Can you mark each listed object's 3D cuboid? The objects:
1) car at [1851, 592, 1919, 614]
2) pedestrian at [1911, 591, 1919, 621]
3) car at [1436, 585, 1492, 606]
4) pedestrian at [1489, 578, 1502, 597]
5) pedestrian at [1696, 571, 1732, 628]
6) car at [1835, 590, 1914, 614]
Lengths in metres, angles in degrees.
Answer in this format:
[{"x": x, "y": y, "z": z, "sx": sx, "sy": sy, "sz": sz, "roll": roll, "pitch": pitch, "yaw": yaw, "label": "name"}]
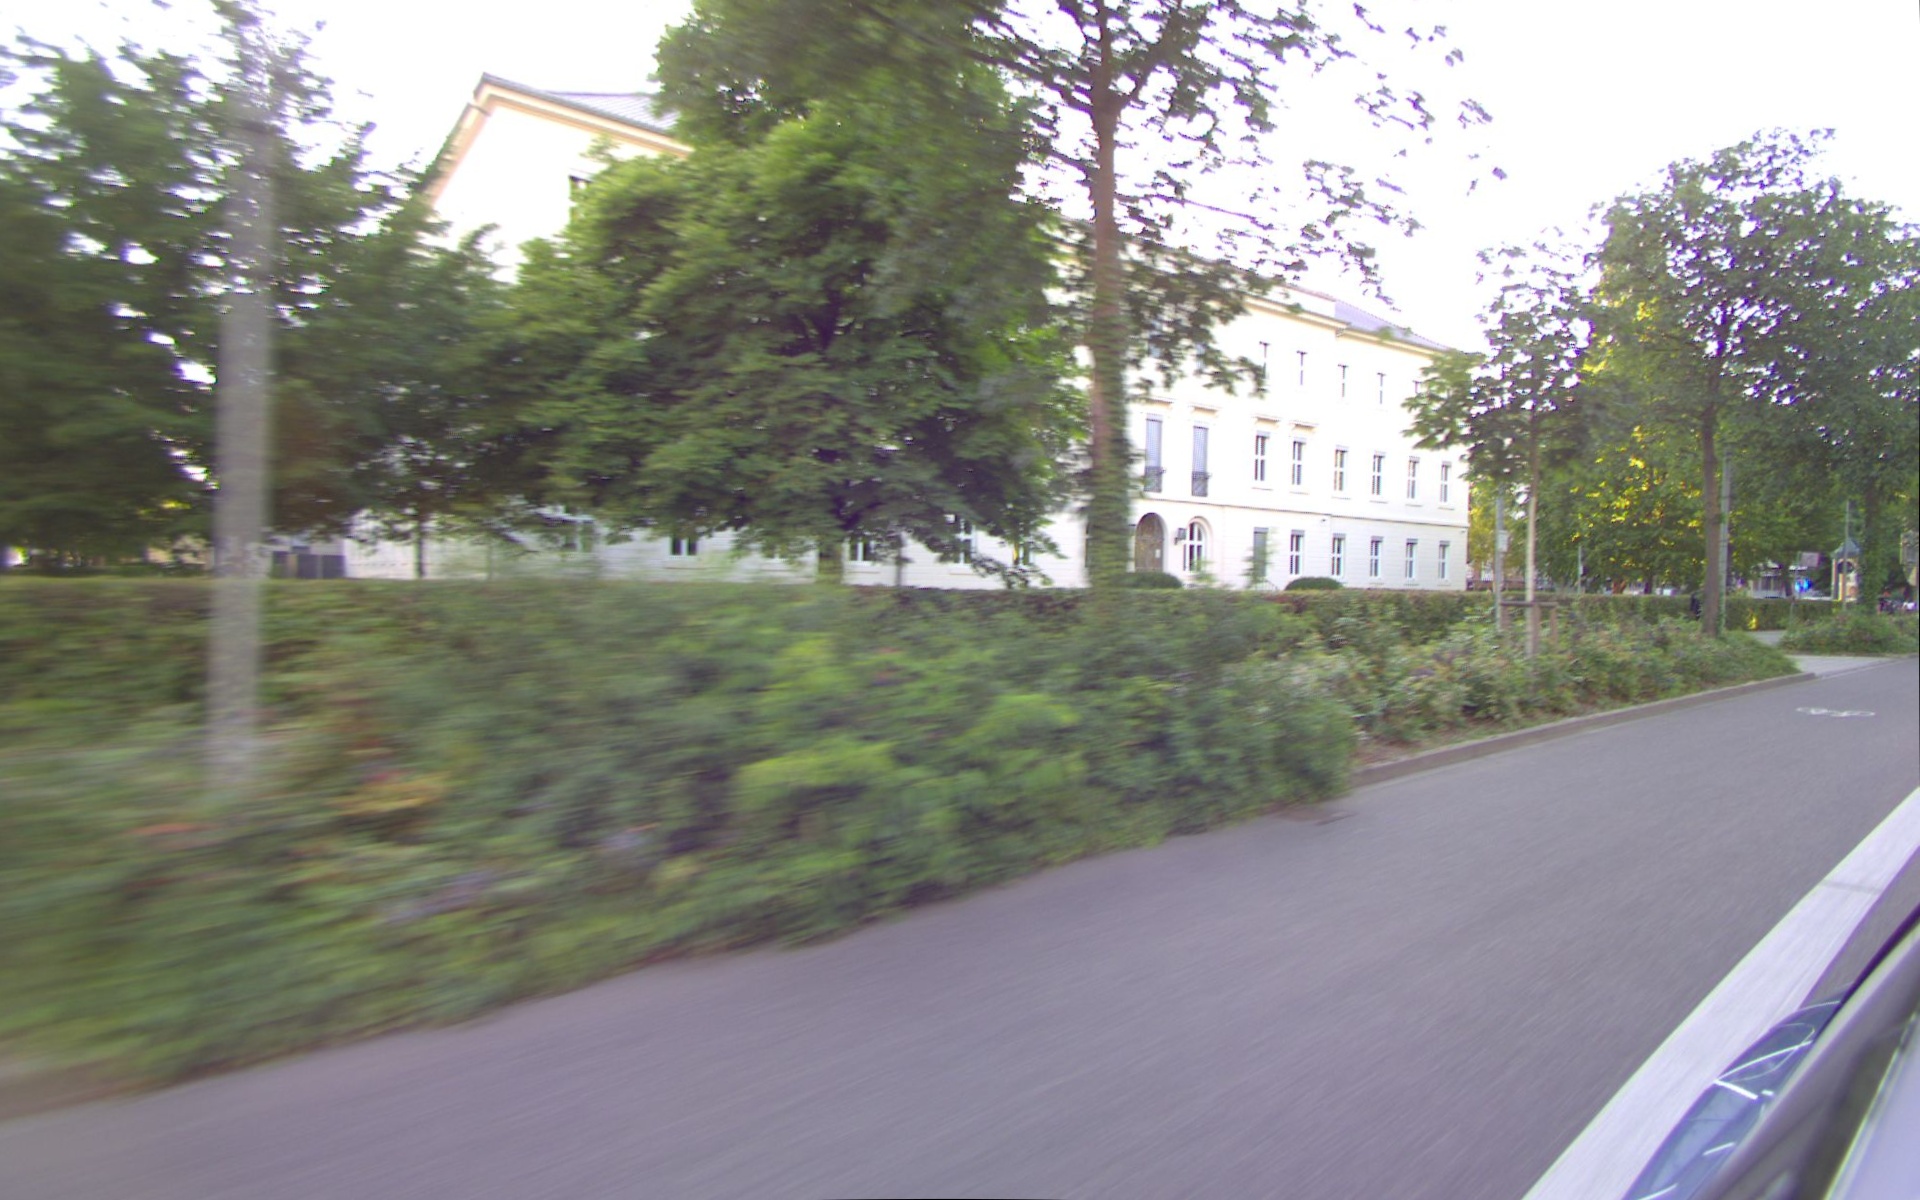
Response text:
[{"x": 74.648, "y": 0.219, "z": 81.419, "sx": 1.879, "sy": 1.631, "sz": 4.007, "roll": 0, "pitch": 1, "yaw": -26, "label": "car"}, {"x": 57.134, "y": 0.344, "z": 60.190, "sx": 0.675, "sy": 1.776, "sz": 0.683, "roll": 1, "pitch": 0, "yaw": -33, "label": "pedestrian"}, {"x": 43.278, "y": -0.412, "z": 87.029, "sx": 1.861, "sy": 1.660, "sz": 4.007, "roll": 0, "pitch": 1, "yaw": -26, "label": "car"}, {"x": 50.342, "y": -1.188, "z": 95.135, "sx": 0.690, "sy": 1.760, "sz": 0.898, "roll": 1, "pitch": 1, "yaw": -24, "label": "pedestrian"}, {"x": 23.905, "y": -0.019, "z": 32.085, "sx": 0.793, "sy": 1.760, "sz": 0.771, "roll": 0, "pitch": 1, "yaw": -42, "label": "pedestrian"}, {"x": 72.255, "y": 0.141, "z": 80.003, "sx": 1.879, "sy": 1.762, "sz": 4.246, "roll": 0, "pitch": 1, "yaw": -27, "label": "car"}]
